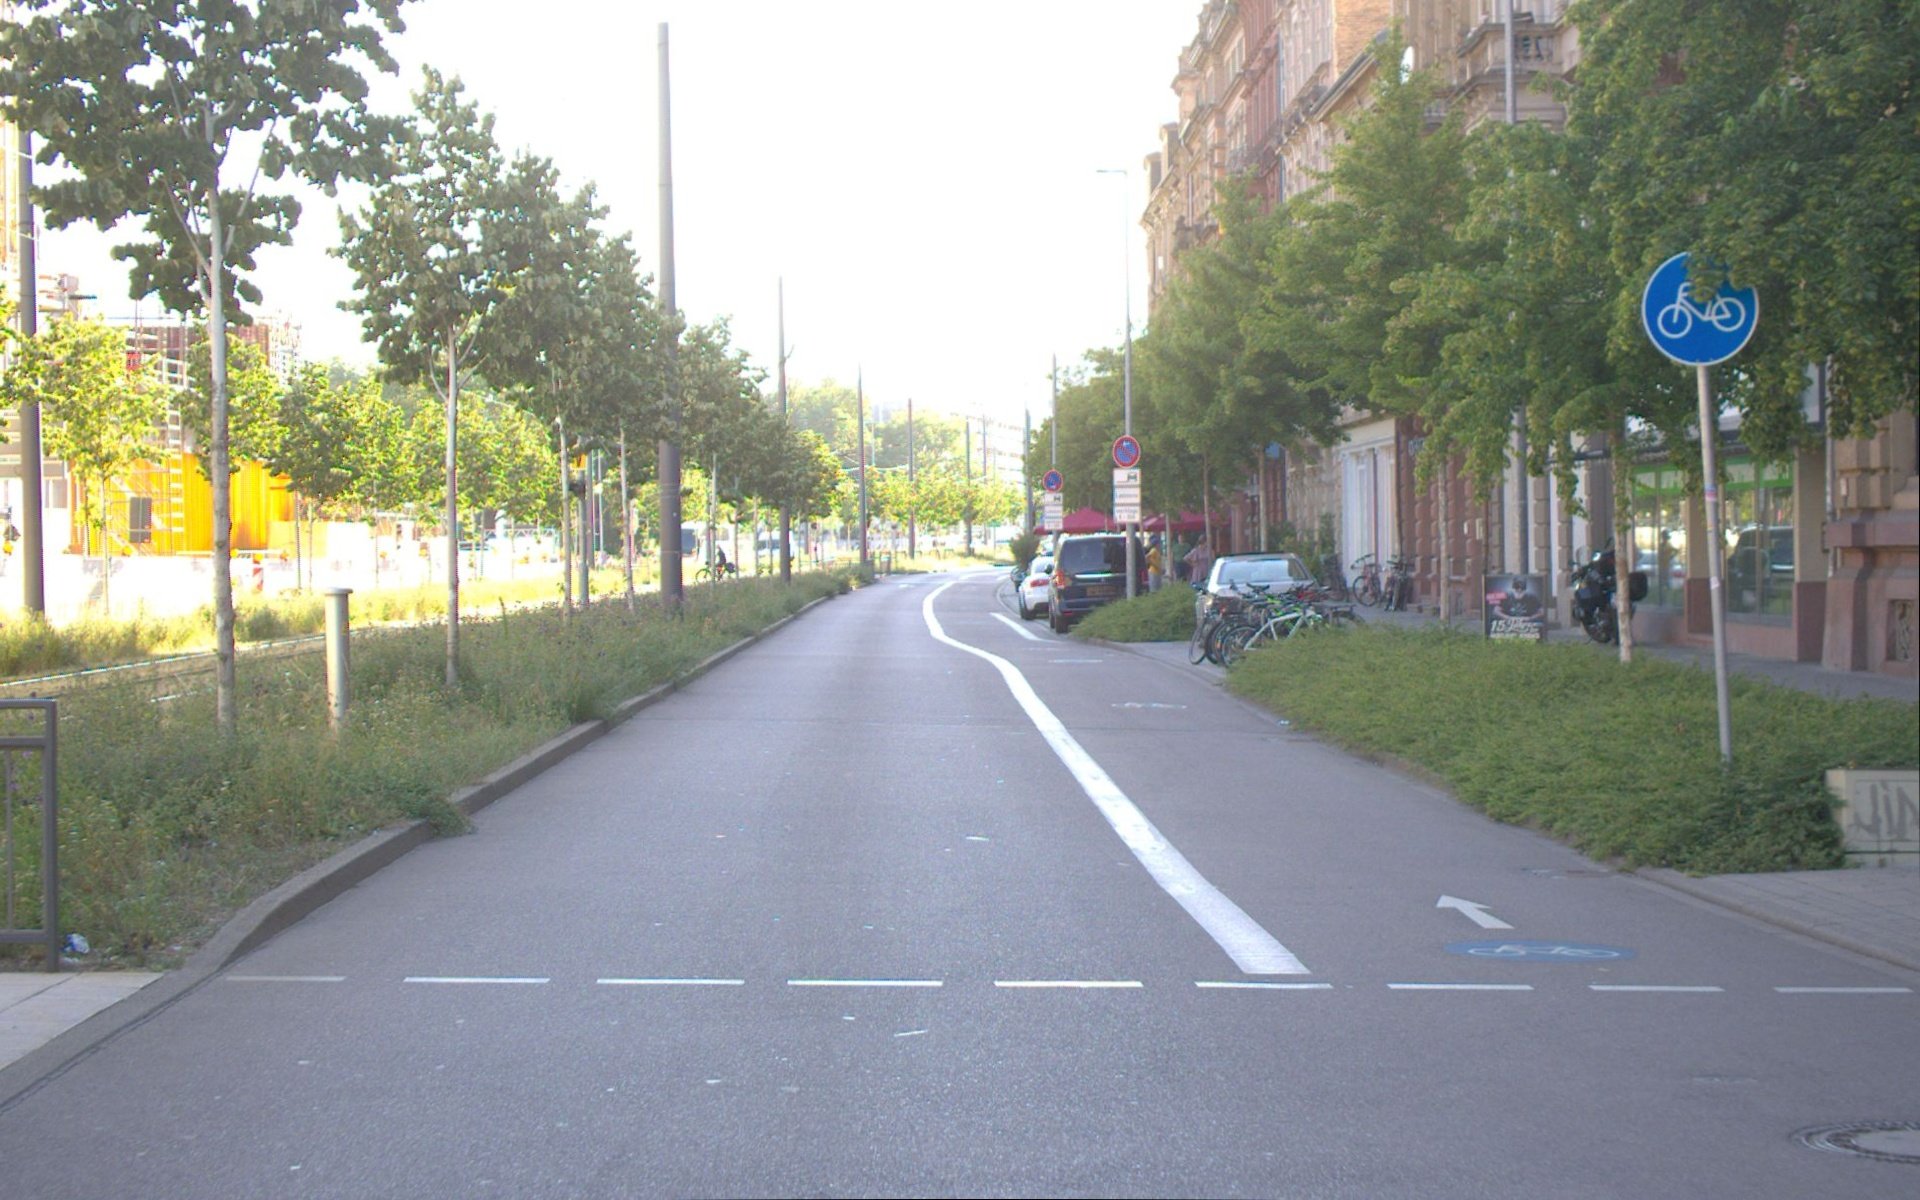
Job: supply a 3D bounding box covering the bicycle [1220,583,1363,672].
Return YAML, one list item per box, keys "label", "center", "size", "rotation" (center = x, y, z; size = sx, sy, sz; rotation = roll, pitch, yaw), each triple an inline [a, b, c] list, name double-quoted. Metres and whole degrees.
- label: "bicycle"
  center: [4.200, 0.344, 43.594]
  size: [1.691, 1.044, 0.489]
  rotation: [-3, 1, -8]

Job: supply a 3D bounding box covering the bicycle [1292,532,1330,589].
- label: "bicycle"
  center: [8.837, -1.001, 86.642]
  size: [0.661, 1.397, 2.352]
  rotation: [-1, 2, -1]

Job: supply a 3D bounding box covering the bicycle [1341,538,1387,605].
- label: "bicycle"
  center: [8.836, -0.643, 75.267]
  size: [0.661, 1.397, 2.352]
  rotation: [-1, 2, -1]

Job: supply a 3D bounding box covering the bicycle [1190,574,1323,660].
- label: "bicycle"
  center: [4.014, 0.226, 46.602]
  size: [1.691, 1.044, 0.489]
  rotation: [-4, 1, 0]

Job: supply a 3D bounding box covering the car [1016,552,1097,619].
- label: "car"
  center: [2.284, -0.365, 81.954]
  size: [1.849, 1.452, 4.156]
  rotation: [-1, 2, 1]

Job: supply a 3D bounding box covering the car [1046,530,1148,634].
- label: "car"
  center: [2.706, -0.400, 68.603]
  size: [1.885, 1.930, 4.473]
  rotation: [-1, 2, 1]

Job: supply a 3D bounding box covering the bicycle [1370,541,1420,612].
- label: "bicycle"
  center: [8.943, -0.504, 70.807]
  size: [0.661, 1.397, 2.352]
  rotation: [-1, 2, -1]

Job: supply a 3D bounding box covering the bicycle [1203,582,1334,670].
- label: "bicycle"
  center: [3.957, 0.331, 44.130]
  size: [1.575, 1.044, 0.489]
  rotation: [-3, 1, -8]

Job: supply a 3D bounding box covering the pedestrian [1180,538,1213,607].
- label: "pedestrian"
  center: [4.991, -0.583, 72.549]
  size: [0.625, 1.455, 0.638]
  rotation: [-1, 1, -1]

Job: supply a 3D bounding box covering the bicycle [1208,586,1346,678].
- label: "bicycle"
  center: [3.899, 0.389, 42.302]
  size: [1.575, 1.044, 0.489]
  rotation: [-3, 1, -8]

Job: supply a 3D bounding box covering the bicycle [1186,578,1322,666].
- label: "bicycle"
  center: [3.869, 0.284, 45.270]
  size: [1.691, 1.044, 0.489]
  rotation: [-3, 1, 0]

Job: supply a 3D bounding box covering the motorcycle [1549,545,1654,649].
- label: "motorcycle"
  center: [8.736, -0.061, 46.953]
  size: [0.795, 1.304, 2.852]
  rotation: [-3, 2, -1]

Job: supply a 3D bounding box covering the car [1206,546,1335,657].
- label: "car"
  center: [4.677, -0.007, 52.213]
  size: [1.637, 1.481, 4.212]
  rotation: [-2, 2, 2]
